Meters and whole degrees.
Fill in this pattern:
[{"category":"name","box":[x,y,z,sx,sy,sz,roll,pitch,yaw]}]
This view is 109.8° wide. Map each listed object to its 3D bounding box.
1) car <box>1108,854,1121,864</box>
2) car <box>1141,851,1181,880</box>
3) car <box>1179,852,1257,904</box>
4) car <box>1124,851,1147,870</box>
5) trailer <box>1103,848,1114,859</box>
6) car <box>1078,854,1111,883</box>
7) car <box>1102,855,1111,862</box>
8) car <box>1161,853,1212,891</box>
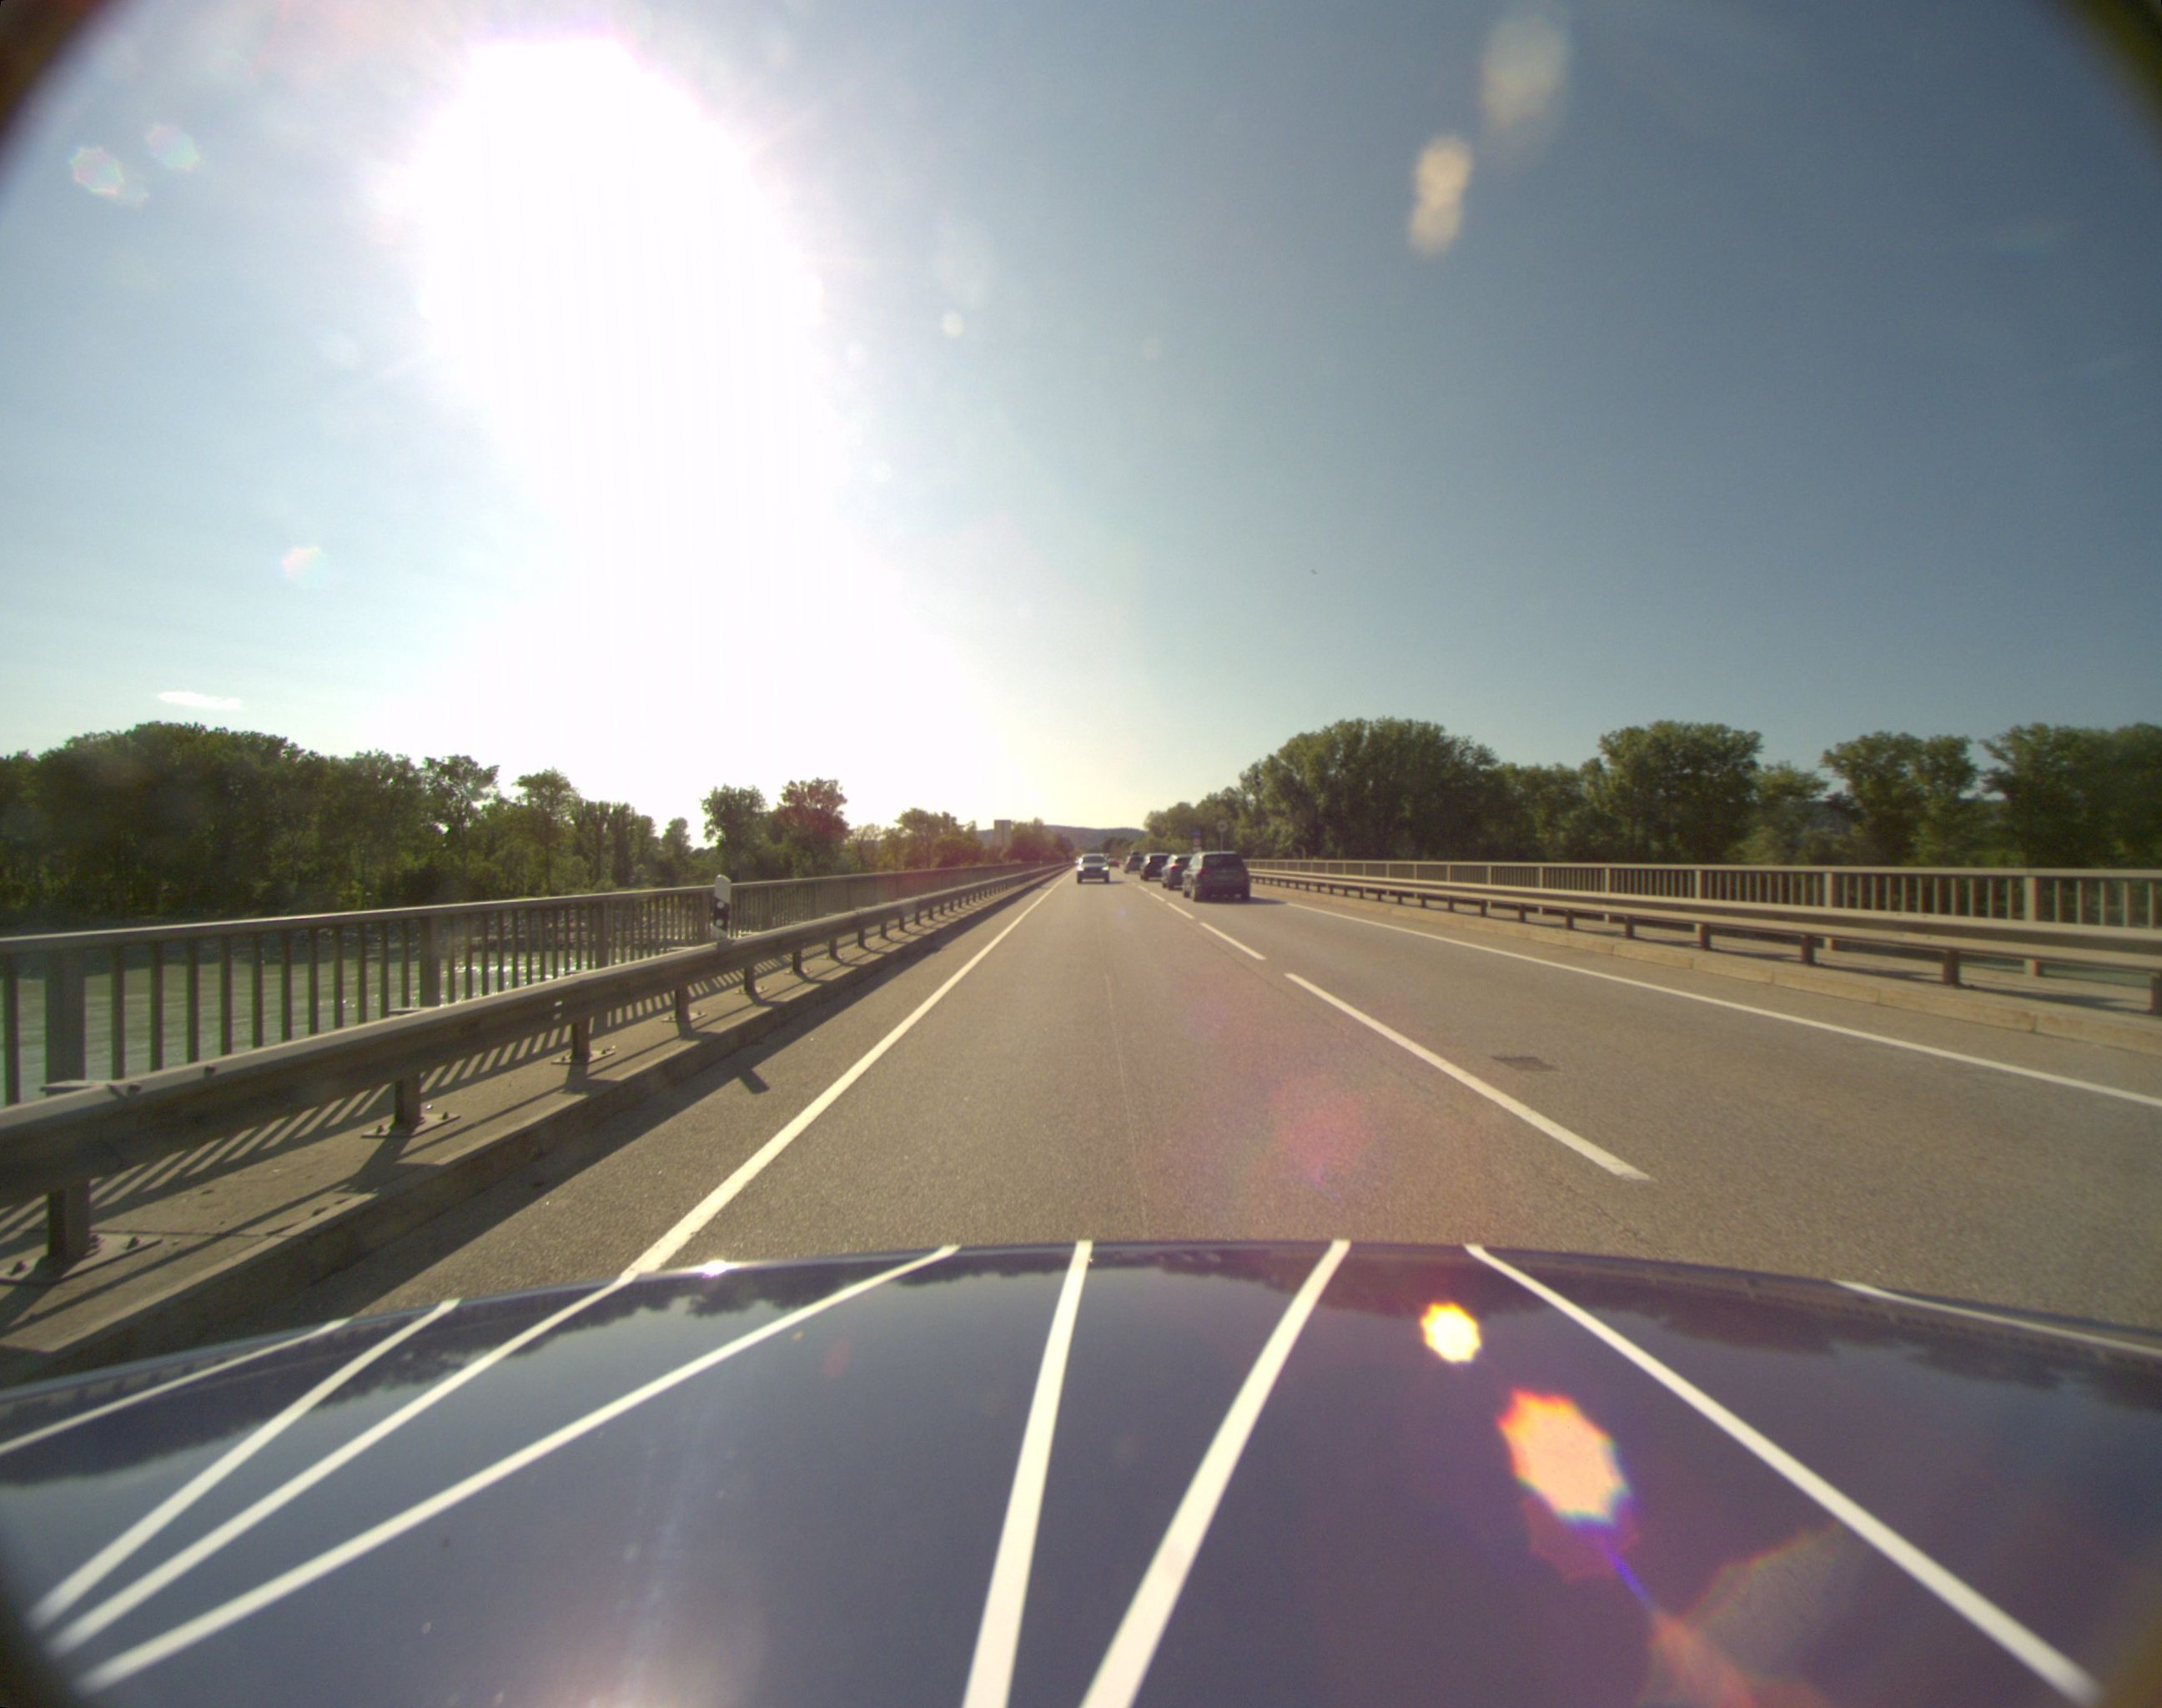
[{"category":"car","box":[4.979,0.739,114.299,1.770,1.439,4.456,-2,0,0]},{"category":"car","box":[4.984,0.679,47.922,2.058,1.643,4.721,-3,0,2]},{"category":"car","box":[4.555,0.744,25.825,1.879,1.574,4.274,-1,0,1]},{"category":"car","box":[5.051,0.595,70.928,1.859,1.712,4.566,-2,0,1]},{"category":"trailer","box":[7.261,-0.076,203.124,2.561,2.721,8.062,-2,0,1]},{"category":"car","box":[0.865,0.847,46.454,1.871,1.598,4.380,-2,0,1]},{"category":"car","box":[6.247,1.129,186.686,1.807,1.651,4.433,-2,0,0]},{"category":"car","box":[4.713,0.779,34.455,1.810,1.568,4.201,-2,0,2]}]
